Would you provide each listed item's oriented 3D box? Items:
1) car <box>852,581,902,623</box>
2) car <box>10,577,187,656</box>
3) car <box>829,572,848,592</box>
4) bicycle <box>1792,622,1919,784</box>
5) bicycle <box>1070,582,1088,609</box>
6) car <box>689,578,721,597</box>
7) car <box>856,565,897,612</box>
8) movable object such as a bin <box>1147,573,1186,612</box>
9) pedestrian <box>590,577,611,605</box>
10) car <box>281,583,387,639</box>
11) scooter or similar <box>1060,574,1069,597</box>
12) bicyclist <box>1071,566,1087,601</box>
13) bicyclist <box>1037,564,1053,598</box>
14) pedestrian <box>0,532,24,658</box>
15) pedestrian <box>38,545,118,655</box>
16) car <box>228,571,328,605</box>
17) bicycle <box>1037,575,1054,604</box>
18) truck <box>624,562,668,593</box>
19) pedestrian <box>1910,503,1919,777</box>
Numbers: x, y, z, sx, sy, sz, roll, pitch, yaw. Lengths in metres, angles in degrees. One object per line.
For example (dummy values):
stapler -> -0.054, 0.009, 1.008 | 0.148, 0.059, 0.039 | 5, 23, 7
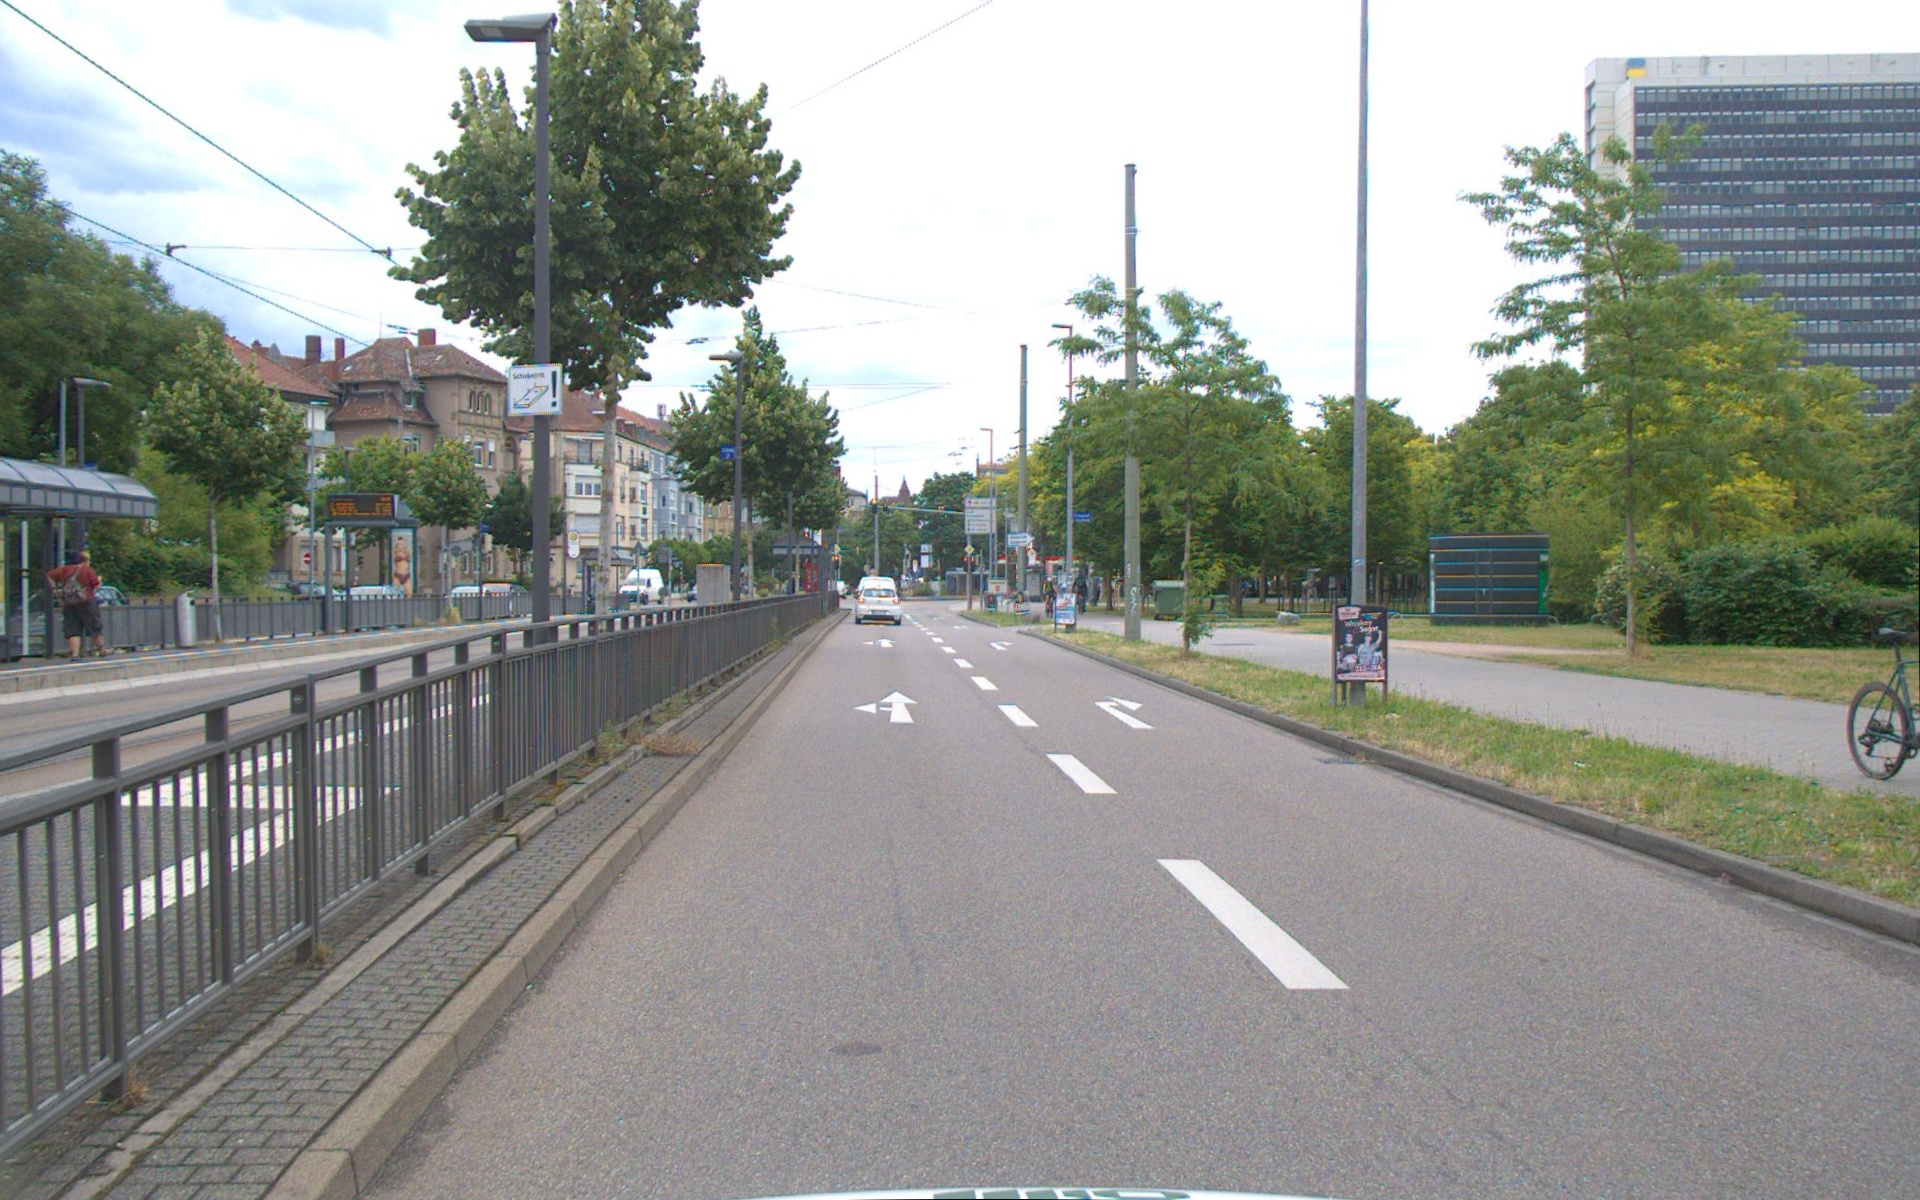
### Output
car -> -3.093, 0.053, 62.207 | 1.746, 1.498, 4.009 | 0, 1, -2
car -> -17.525, 0.303, 33.834 | 1.735, 1.519, 3.885 | 0, 0, -3
car -> -12.041, -1.780, 163.967 | 1.735, 1.906, 3.885 | 0, 0, -3
bicycle -> 6.618, 0.690, 11.568 | 0.641, 1.020, 1.778 | 0, 1, -3
bicycle -> 5.371, -0.221, 74.799 | 0.665, 1.175, 1.898 | 0, 1, 0
car -> -20.240, -0.997, 131.557 | 1.733, 1.519, 3.888 | 0, 0, 3
car -> -3.639, -0.526, 71.704 | 1.747, 1.997, 4.379 | 0, 1, -3
movable object such as a bin -> 7.575, -0.263, 60.688 | 1.256, 1.414, 1.158 | 0, 0, -2
pedestrian -> -16.801, -0.414, 77.328 | 0.848, 1.289, 0.693 | -1, 1, -5
car -> -17.875, 0.290, 47.410 | 1.735, 1.519, 3.885 | 0, 0, -3
scooter or similar -> 5.470, -0.764, 86.817 | 0.368, 1.161, 1.200 | 0, 1, 8
bicyclist -> 5.364, -0.768, 74.677 | 0.665, 1.564, 0.673 | -1, 1, 0
bicyclist -> 3.610, -0.815, 70.396 | 0.665, 1.403, 0.728 | 0, 1, 4
pedestrian -> -13.679, -0.067, 23.272 | 0.687, 1.745, 0.697 | -1, 0, -11
pedestrian -> -13.896, -0.003, 26.096 | 0.753, 1.689, 1.024 | -1, 1, -6
car -> -30.952, -0.563, 75.093 | 3.797, 1.519, 1.775 | 0, 0, -3
bicycle -> 3.626, -0.456, 70.392 | 0.665, 1.175, 1.899 | 0, 1, 4
truck -> -22.004, -1.572, 116.060 | 1.750, 2.068, 5.398 | 0, 0, 3
pedestrian -> 7.023, 0.277, 11.239 | 0.725, 1.902, 0.682 | -1, 1, -4
